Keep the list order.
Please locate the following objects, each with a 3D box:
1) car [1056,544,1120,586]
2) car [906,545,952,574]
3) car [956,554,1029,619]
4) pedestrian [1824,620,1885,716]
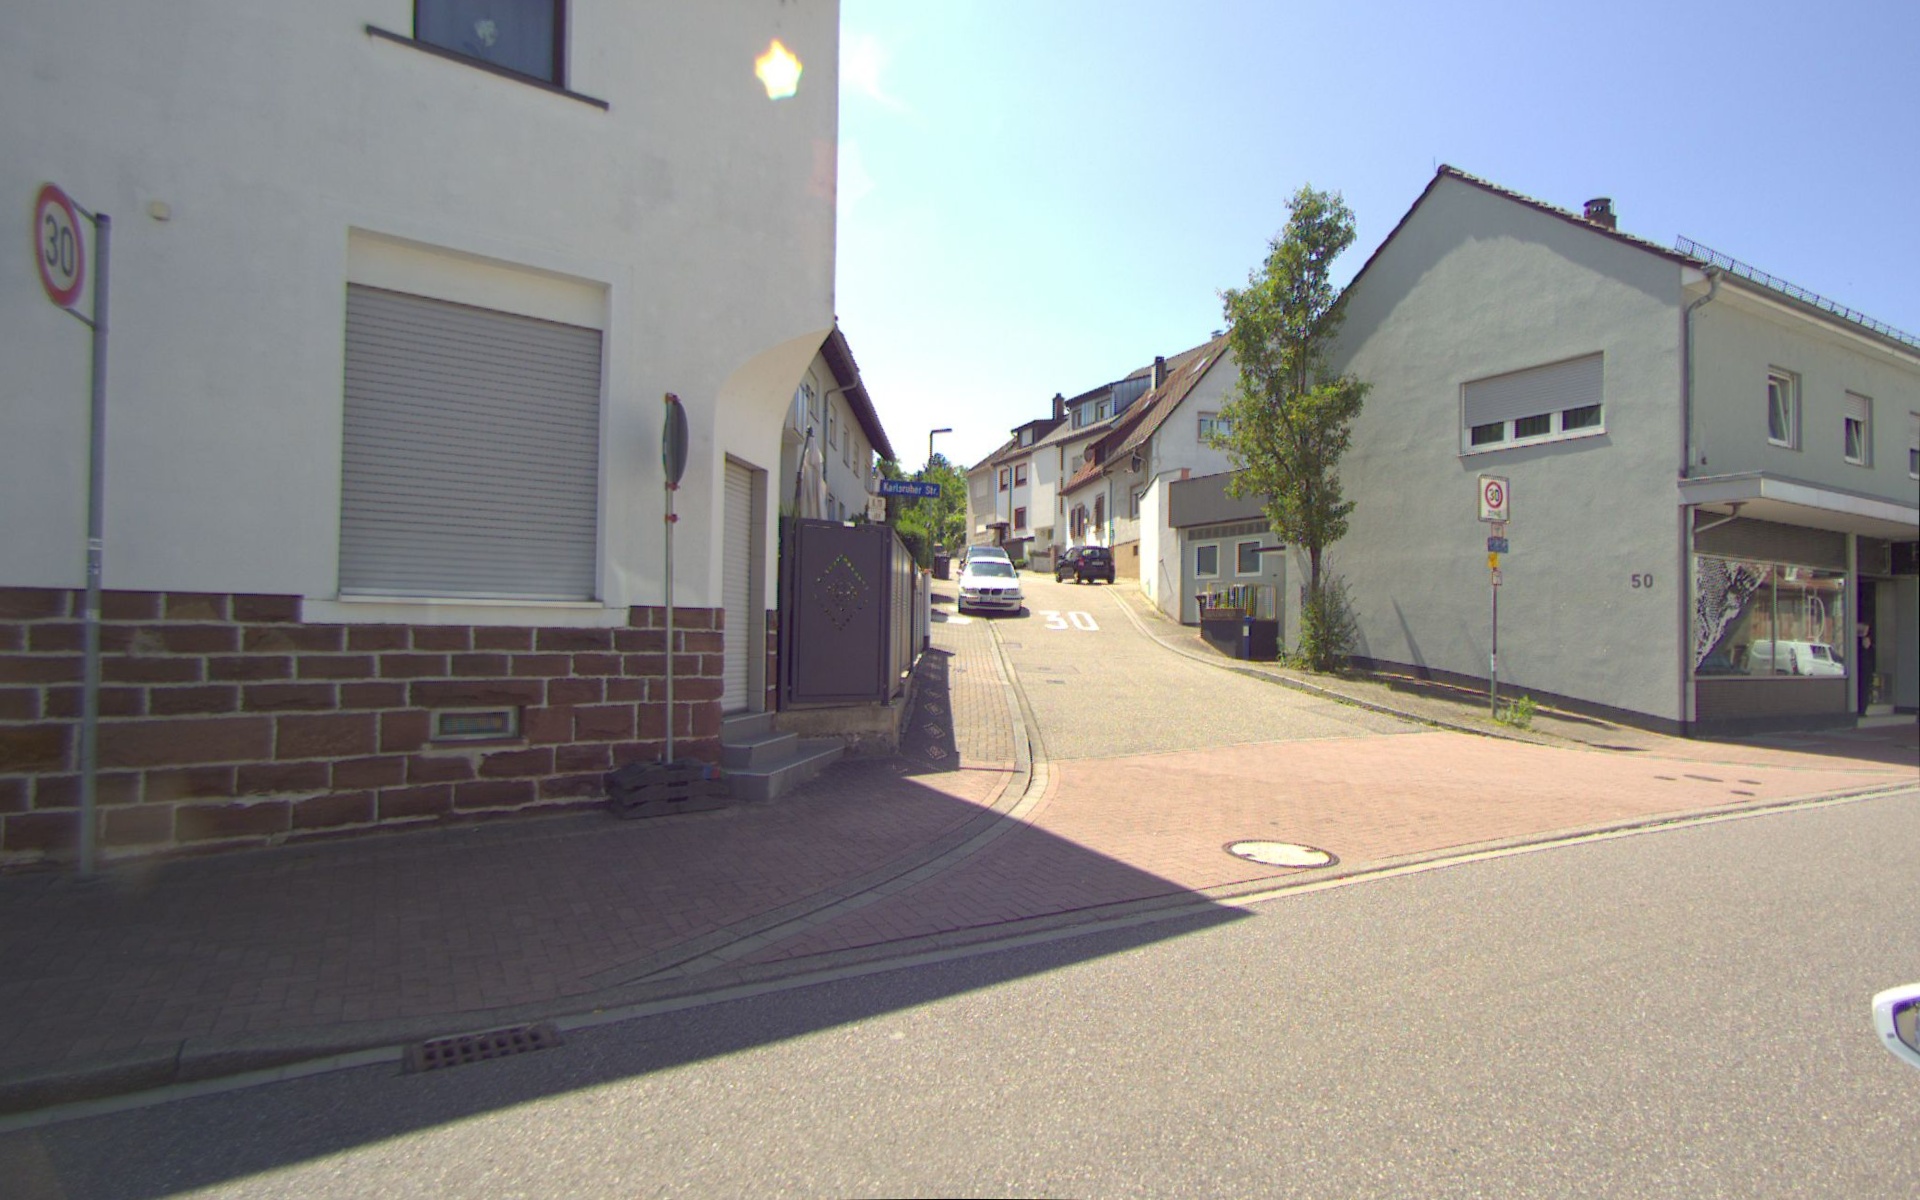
[{"bbox_3d":[5.136,-1.458,40.840,1.651,1.519,3.808,2,4,-7],"label":"car"},{"bbox_3d":[-1.759,-2.293,56.273,1.814,1.484,3.910,1,3,-14],"label":"car"},{"bbox_3d":[0.859,-0.432,27.870,1.809,1.426,3.920,3,5,0],"label":"car"},{"bbox_3d":[16.428,1.241,18.457,0.762,1.707,0.621,2,-1,-30],"label":"pedestrian"}]
